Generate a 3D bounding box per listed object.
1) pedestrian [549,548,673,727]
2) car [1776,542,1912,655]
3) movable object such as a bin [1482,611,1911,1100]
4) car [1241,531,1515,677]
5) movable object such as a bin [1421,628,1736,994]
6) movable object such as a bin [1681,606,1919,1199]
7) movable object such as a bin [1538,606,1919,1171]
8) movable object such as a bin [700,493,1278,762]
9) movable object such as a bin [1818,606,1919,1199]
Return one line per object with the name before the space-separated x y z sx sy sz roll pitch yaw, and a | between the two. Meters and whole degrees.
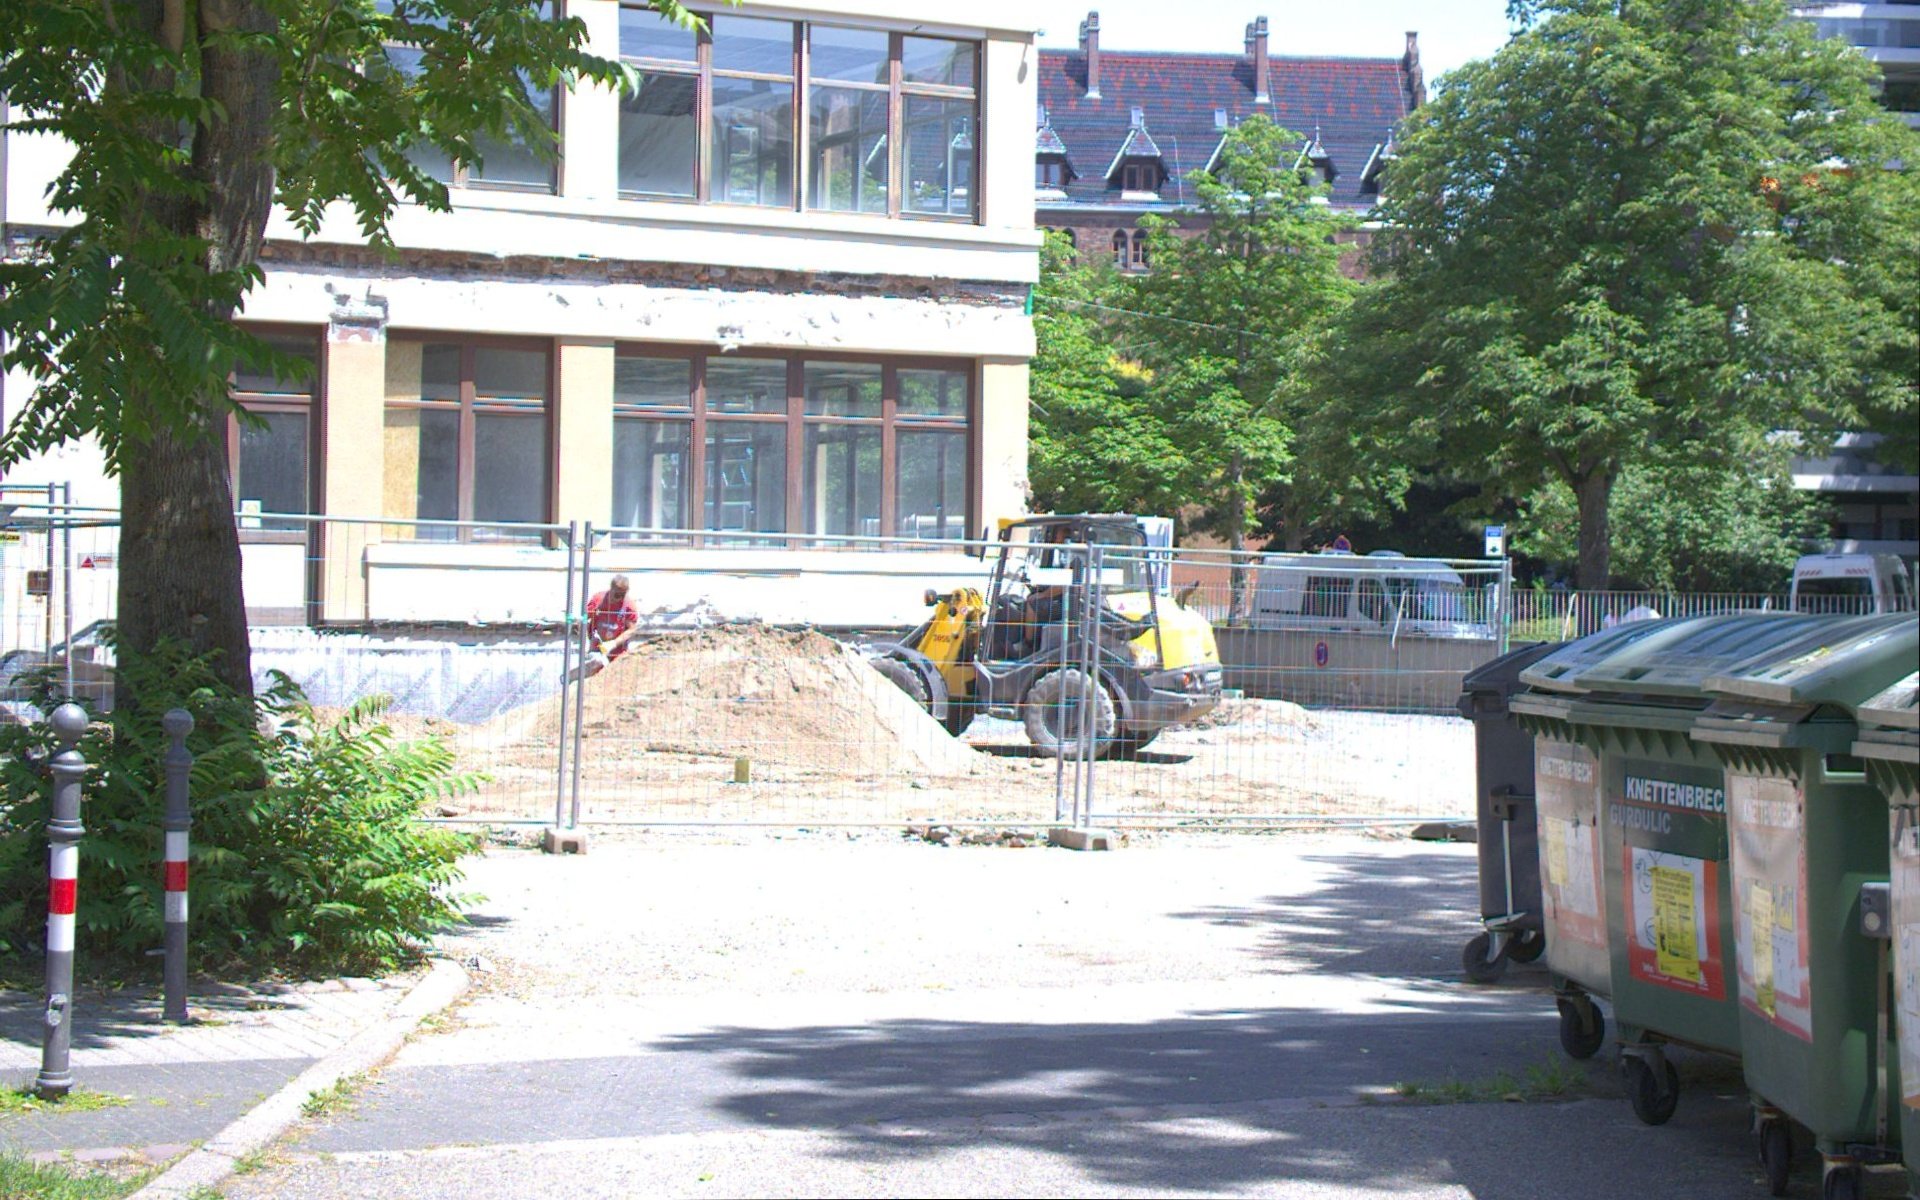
pedestrian | -3.656 0.393 35.998 0.914 1.840 0.986 1 0 -33
car | 18.488 -0.018 71.757 2.187 2.250 4.863 1 0 21
movable object such as a bin | 2.319 0.770 11.025 1.075 1.453 1.377 1 0 1
car | 7.205 0.068 59.788 1.993 2.408 5.243 1 0 -29
movable object such as a bin | 2.583 0.854 14.532 1.075 1.453 1.377 1 0 1
movable object such as a bin | 2.390 0.749 8.131 1.075 1.453 1.377 1 0 1
movable object such as a bin | 2.271 0.751 9.603 1.075 1.453 1.377 1 0 1
movable object such as a bin | 0.287 0.241 35.661 5.411 2.456 2.364 3 1 26
movable object such as a bin | 2.379 0.745 6.687 1.075 1.453 1.377 1 0 1
